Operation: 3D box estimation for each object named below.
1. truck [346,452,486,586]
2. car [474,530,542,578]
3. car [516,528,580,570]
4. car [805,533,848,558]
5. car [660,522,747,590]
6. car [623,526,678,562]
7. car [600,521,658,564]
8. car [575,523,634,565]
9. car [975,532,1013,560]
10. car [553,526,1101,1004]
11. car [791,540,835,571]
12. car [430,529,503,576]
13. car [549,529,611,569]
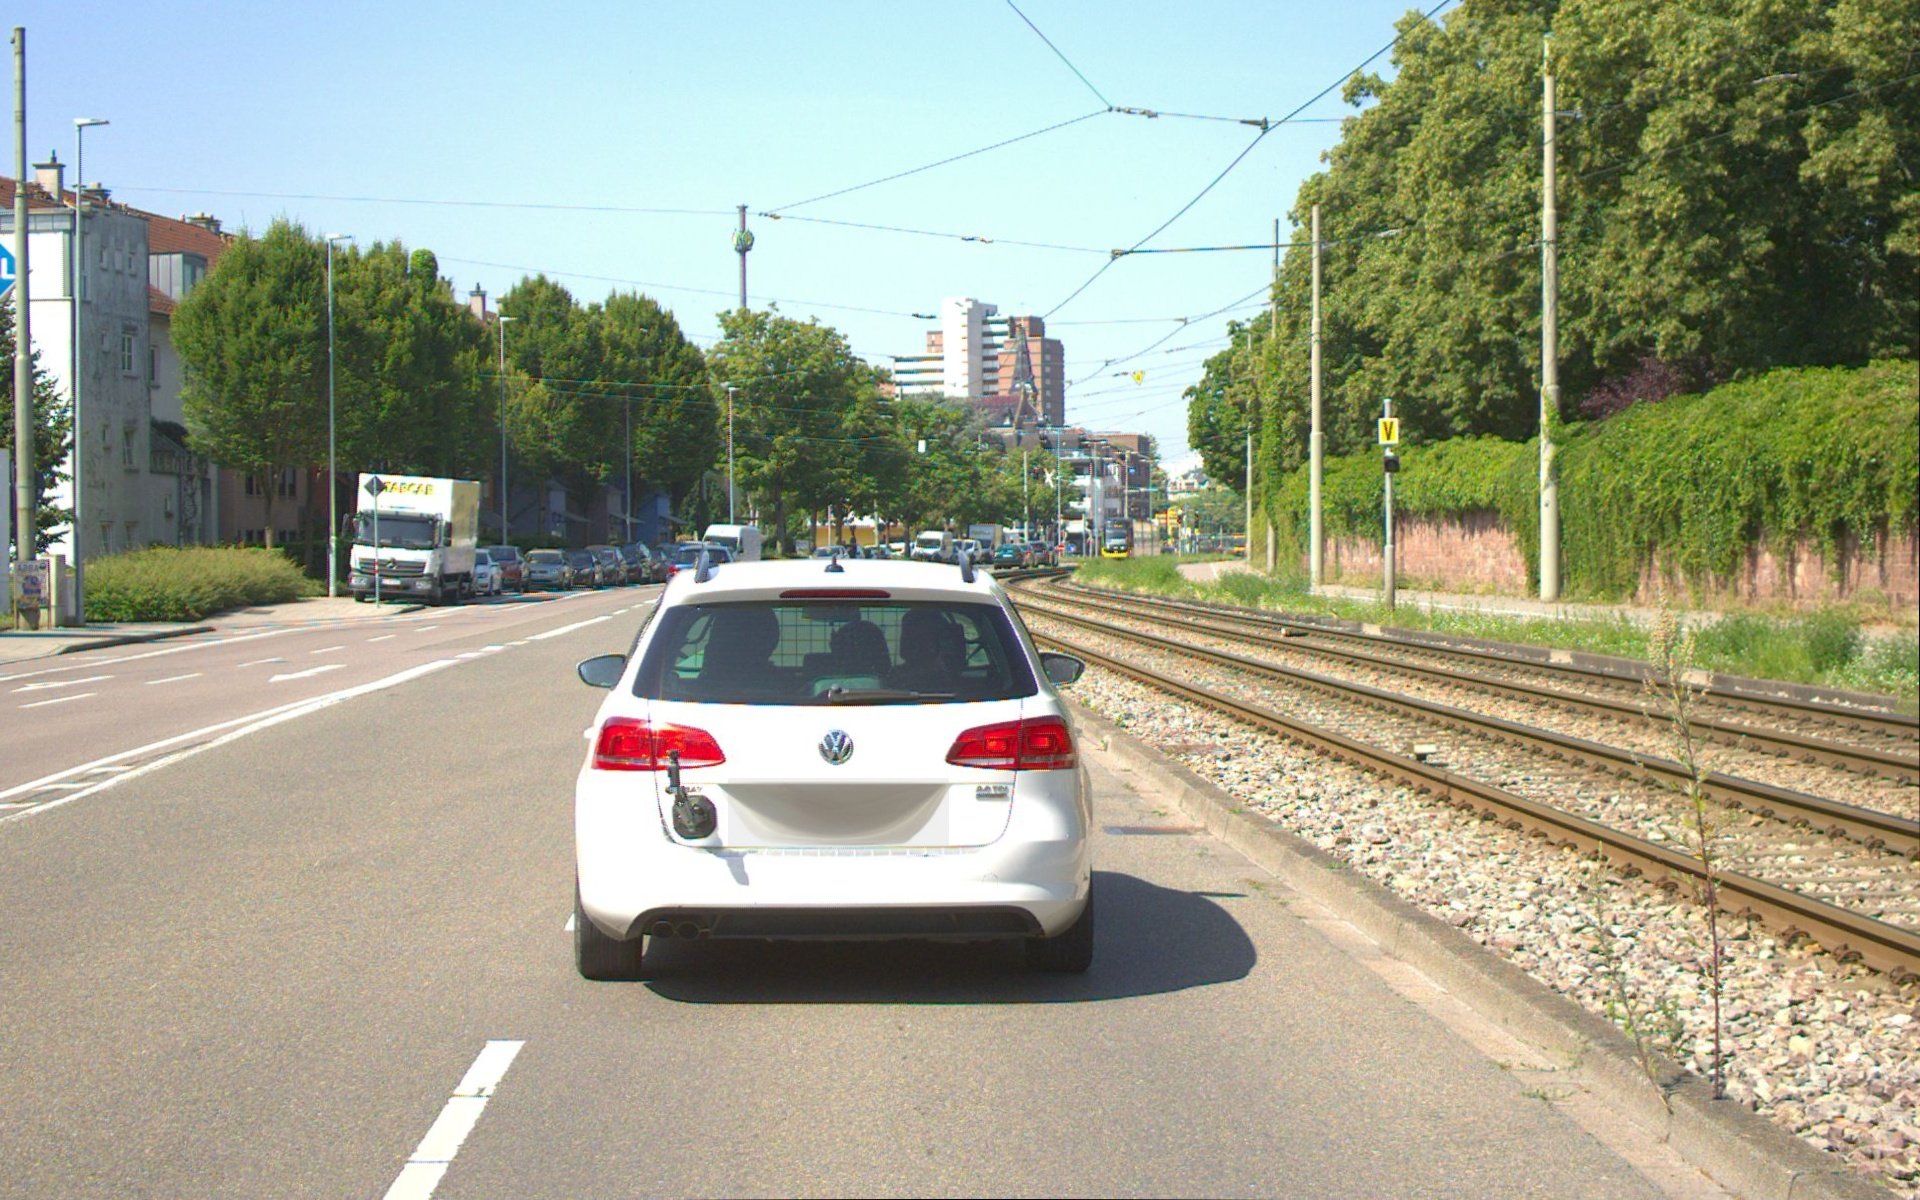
[{"bbox_3d":[-15.064,-2.250,95.797,2.667,3.518,8.591,1,1,-1],"label":"truck"},{"bbox_3d":[-15.202,-1.554,115.809,1.731,1.546,4.319,1,1,-1],"label":"car"},{"bbox_3d":[-15.127,-1.864,126.448,1.780,1.478,4.857,1,1,0],"label":"car"},{"bbox_3d":[-7.725,-3.169,199.274,1.700,1.412,3.998,0,1,10],"label":"car"},{"bbox_3d":[-6.067,-1.063,81.743,1.800,1.502,4.001,1,2,-1],"label":"car"},{"bbox_3d":[-13.490,-2.453,150.080,1.690,1.469,4.048,3,1,4],"label":"car"},{"bbox_3d":[-13.900,-2.431,144.612,1.769,1.717,4.870,2,1,2],"label":"car"},{"bbox_3d":[-14.347,-2.277,139.089,1.717,1.619,4.312,1,1,3],"label":"car"},{"bbox_3d":[1.938,-3.086,196.332,1.801,1.502,3.999,1,2,6],"label":"car"},{"bbox_3d":[-0.478,0.470,12.948,1.691,1.446,4.459,1,2,-2],"label":"car"},{"bbox_3d":[-7.221,-2.198,168.876,1.659,1.415,4.309,-2,1,3],"label":"car"},{"bbox_3d":[-15.610,-1.511,108.849,1.757,1.424,4.282,1,1,-1],"label":"car"},{"bbox_3d":[-14.699,-1.995,133.119,1.723,1.469,4.715,1,1,1],"label":"car"}]
